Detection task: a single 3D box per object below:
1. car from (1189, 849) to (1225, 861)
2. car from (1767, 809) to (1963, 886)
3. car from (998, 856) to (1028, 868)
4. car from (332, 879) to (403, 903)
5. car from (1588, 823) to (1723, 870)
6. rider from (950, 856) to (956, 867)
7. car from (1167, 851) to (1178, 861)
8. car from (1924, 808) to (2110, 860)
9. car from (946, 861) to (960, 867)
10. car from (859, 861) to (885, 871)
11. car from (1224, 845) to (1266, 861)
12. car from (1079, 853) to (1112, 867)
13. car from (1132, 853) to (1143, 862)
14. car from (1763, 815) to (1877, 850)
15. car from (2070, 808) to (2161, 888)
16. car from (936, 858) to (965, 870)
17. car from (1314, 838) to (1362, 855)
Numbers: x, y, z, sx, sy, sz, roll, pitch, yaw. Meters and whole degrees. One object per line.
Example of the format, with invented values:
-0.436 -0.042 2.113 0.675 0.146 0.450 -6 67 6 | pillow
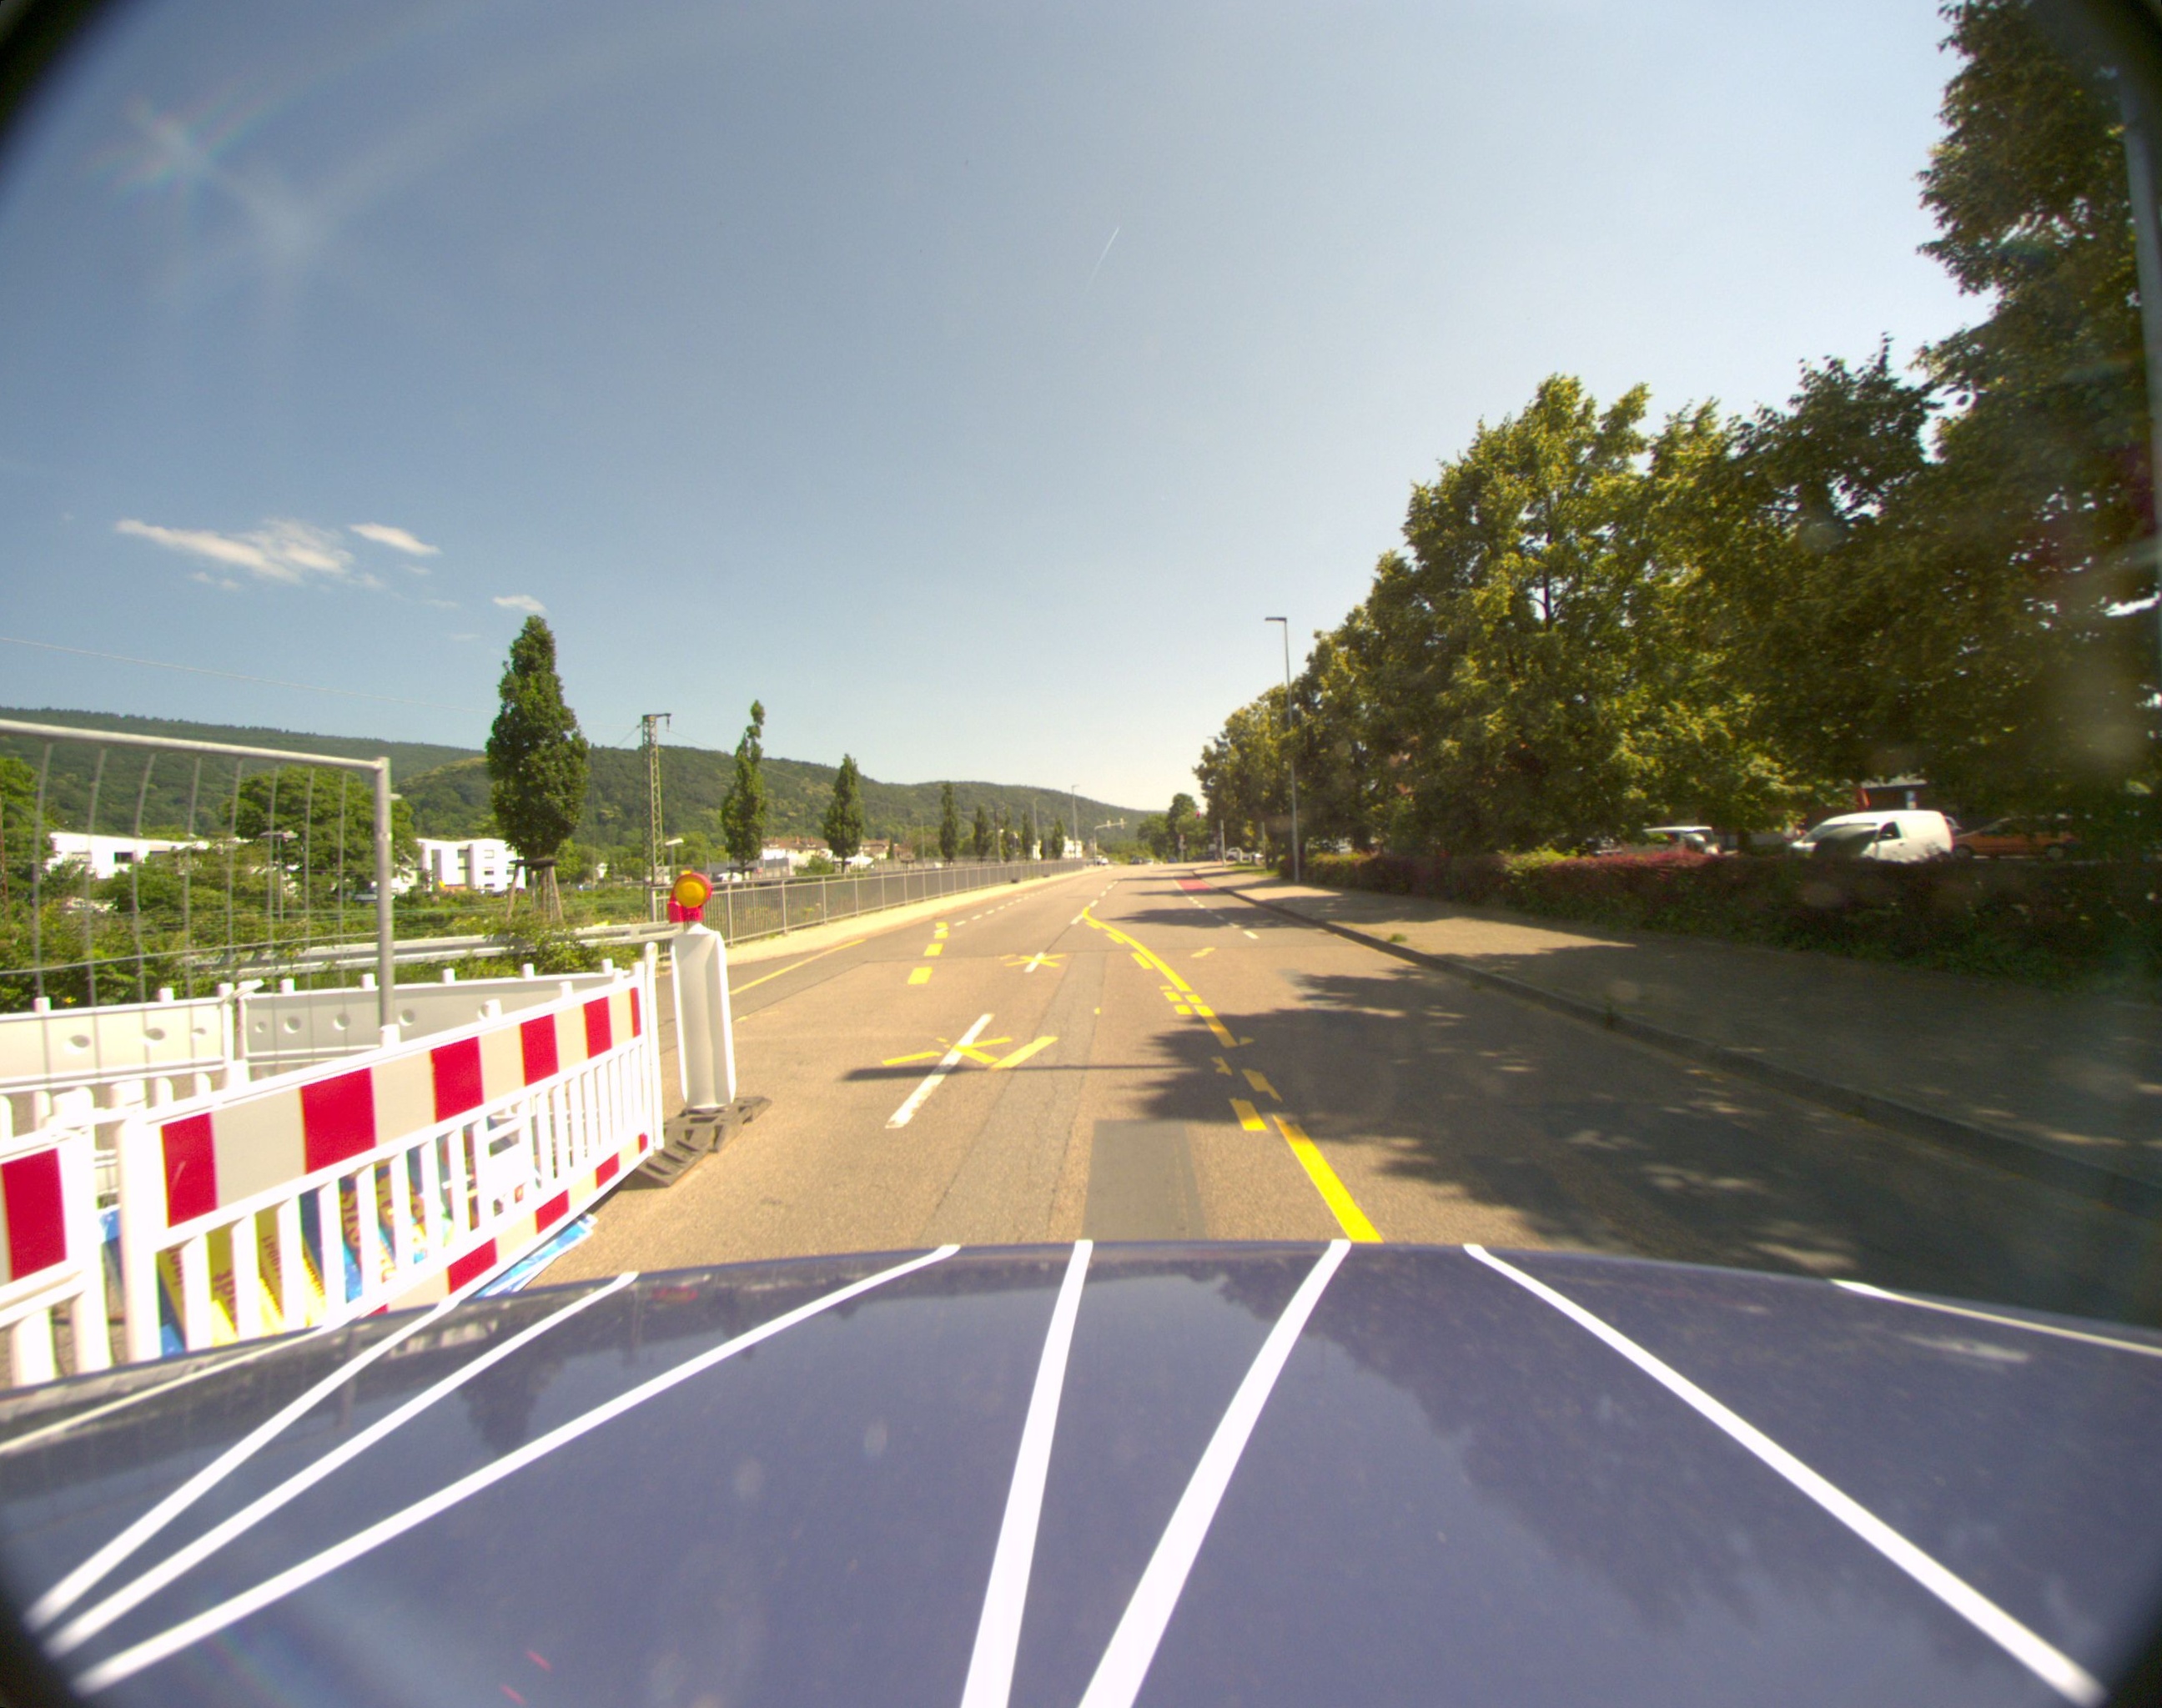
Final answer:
16.865 0.151 101.785 4.359 1.339 1.834 -3 3 32 | car
21.200 -0.177 20.580 4.356 1.816 1.747 -3 -1 -16 | car
-10.703 1.213 119.400 4.359 1.618 1.834 -3 3 32 | car
-83.764 4.316 89.330 2.132 2.090 5.523 -7 0 15 | car
24.032 -0.261 31.976 1.761 1.788 4.222 -4 0 -19 | car
-21.788 1.324 129.132 0.684 1.804 0.548 -2 4 32 | rider
15.329 0.277 127.762 1.609 1.527 3.683 -3 0 3 | car
32.573 -0.638 26.604 1.669 1.622 3.721 -4 0 -10 | car
-21.779 1.743 129.183 2.377 0.897 0.576 -3 3 32 | car
-36.983 2.167 134.557 4.359 1.483 1.834 -3 3 32 | car
20.094 -0.100 93.274 4.569 1.643 1.834 -3 3 35 | car
2.126 0.878 110.819 4.359 1.618 1.834 -3 3 32 | car
9.003 0.587 120.943 1.609 1.248 3.683 -3 0 3 | car
37.982 -1.085 39.209 3.989 1.584 1.931 -3 0 37 | car
23.548 -0.202 15.986 3.812 1.574 1.903 -4 0 -14 | car
-21.564 1.699 125.444 4.359 1.618 1.834 -3 3 32 | car
29.183 -0.818 86.445 4.755 1.643 1.834 -2 3 36 | car
